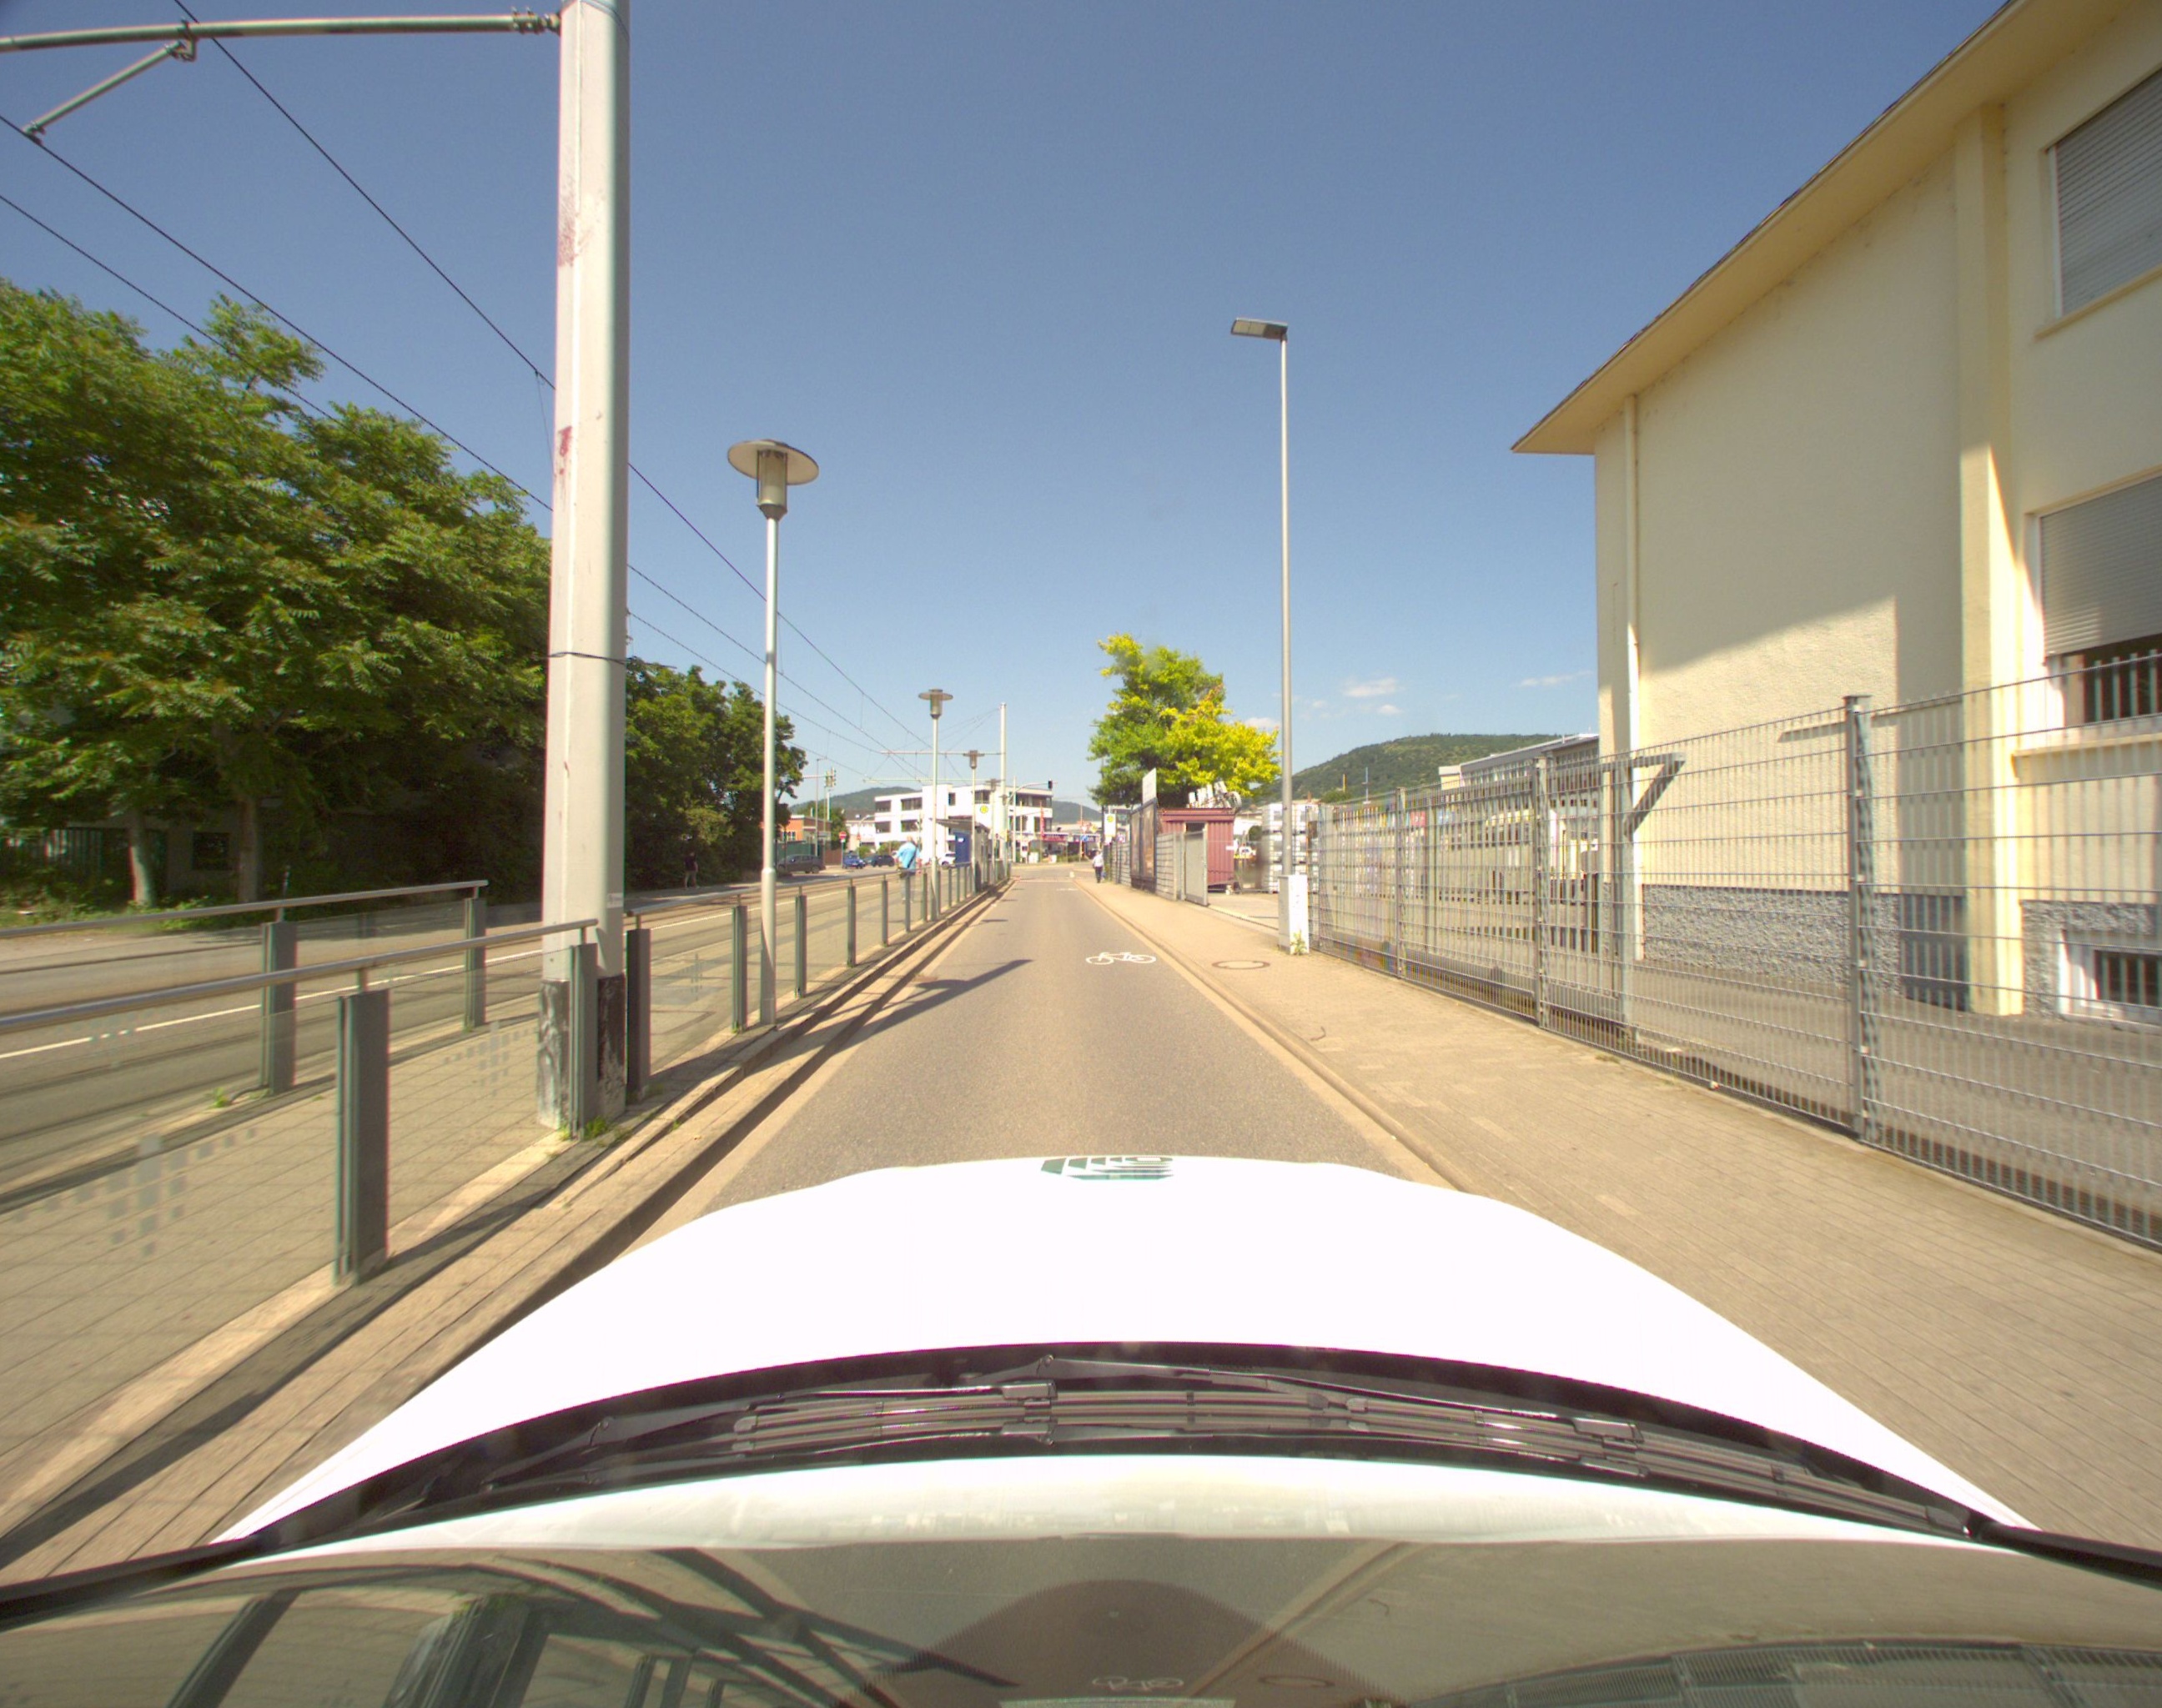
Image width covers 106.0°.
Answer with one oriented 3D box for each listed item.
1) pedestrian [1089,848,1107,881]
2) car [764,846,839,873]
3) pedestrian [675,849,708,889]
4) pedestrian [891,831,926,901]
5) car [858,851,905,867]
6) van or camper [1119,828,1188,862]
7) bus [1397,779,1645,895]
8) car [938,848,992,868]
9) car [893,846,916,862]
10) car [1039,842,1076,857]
[{"bbox_3d":[0.913,0.542,43.275,0.811,1.699,0.886,-2,0,-5],"label":"pedestrian"},{"bbox_3d":[-21.116,0.414,61.649,2.074,1.837,4.941,-1,1,42],"label":"car"},{"bbox_3d":[-17.082,0.650,35.733,0.884,1.670,1.159,-2,0,-3],"label":"pedestrian"},{"bbox_3d":[-4.366,0.290,20.634,0.722,1.724,0.944,0,1,-3],"label":"pedestrian"},{"bbox_3d":[-22.633,0.515,92.572,4.940,1.665,1.931,-2,1,-44],"label":"car"},{"bbox_3d":[6.270,-0.827,70.632,5.792,2.773,2.091,-1,1,0],"label":"van or camper"},{"bbox_3d":[14.188,-0.348,27.688,2.558,3.171,10.260,-1,-1,-2],"label":"bus"},{"bbox_3d":[-10.754,0.355,75.771,4.515,1.733,2.008,-1,0,15],"label":"car"},{"bbox_3d":[-22.540,0.028,103.781,2.170,2.014,4.982,0,-1,-21],"label":"car"},{"bbox_3d":[-3.222,-0.594,113.700,1.941,1.965,5.312,-1,1,44],"label":"car"}]
